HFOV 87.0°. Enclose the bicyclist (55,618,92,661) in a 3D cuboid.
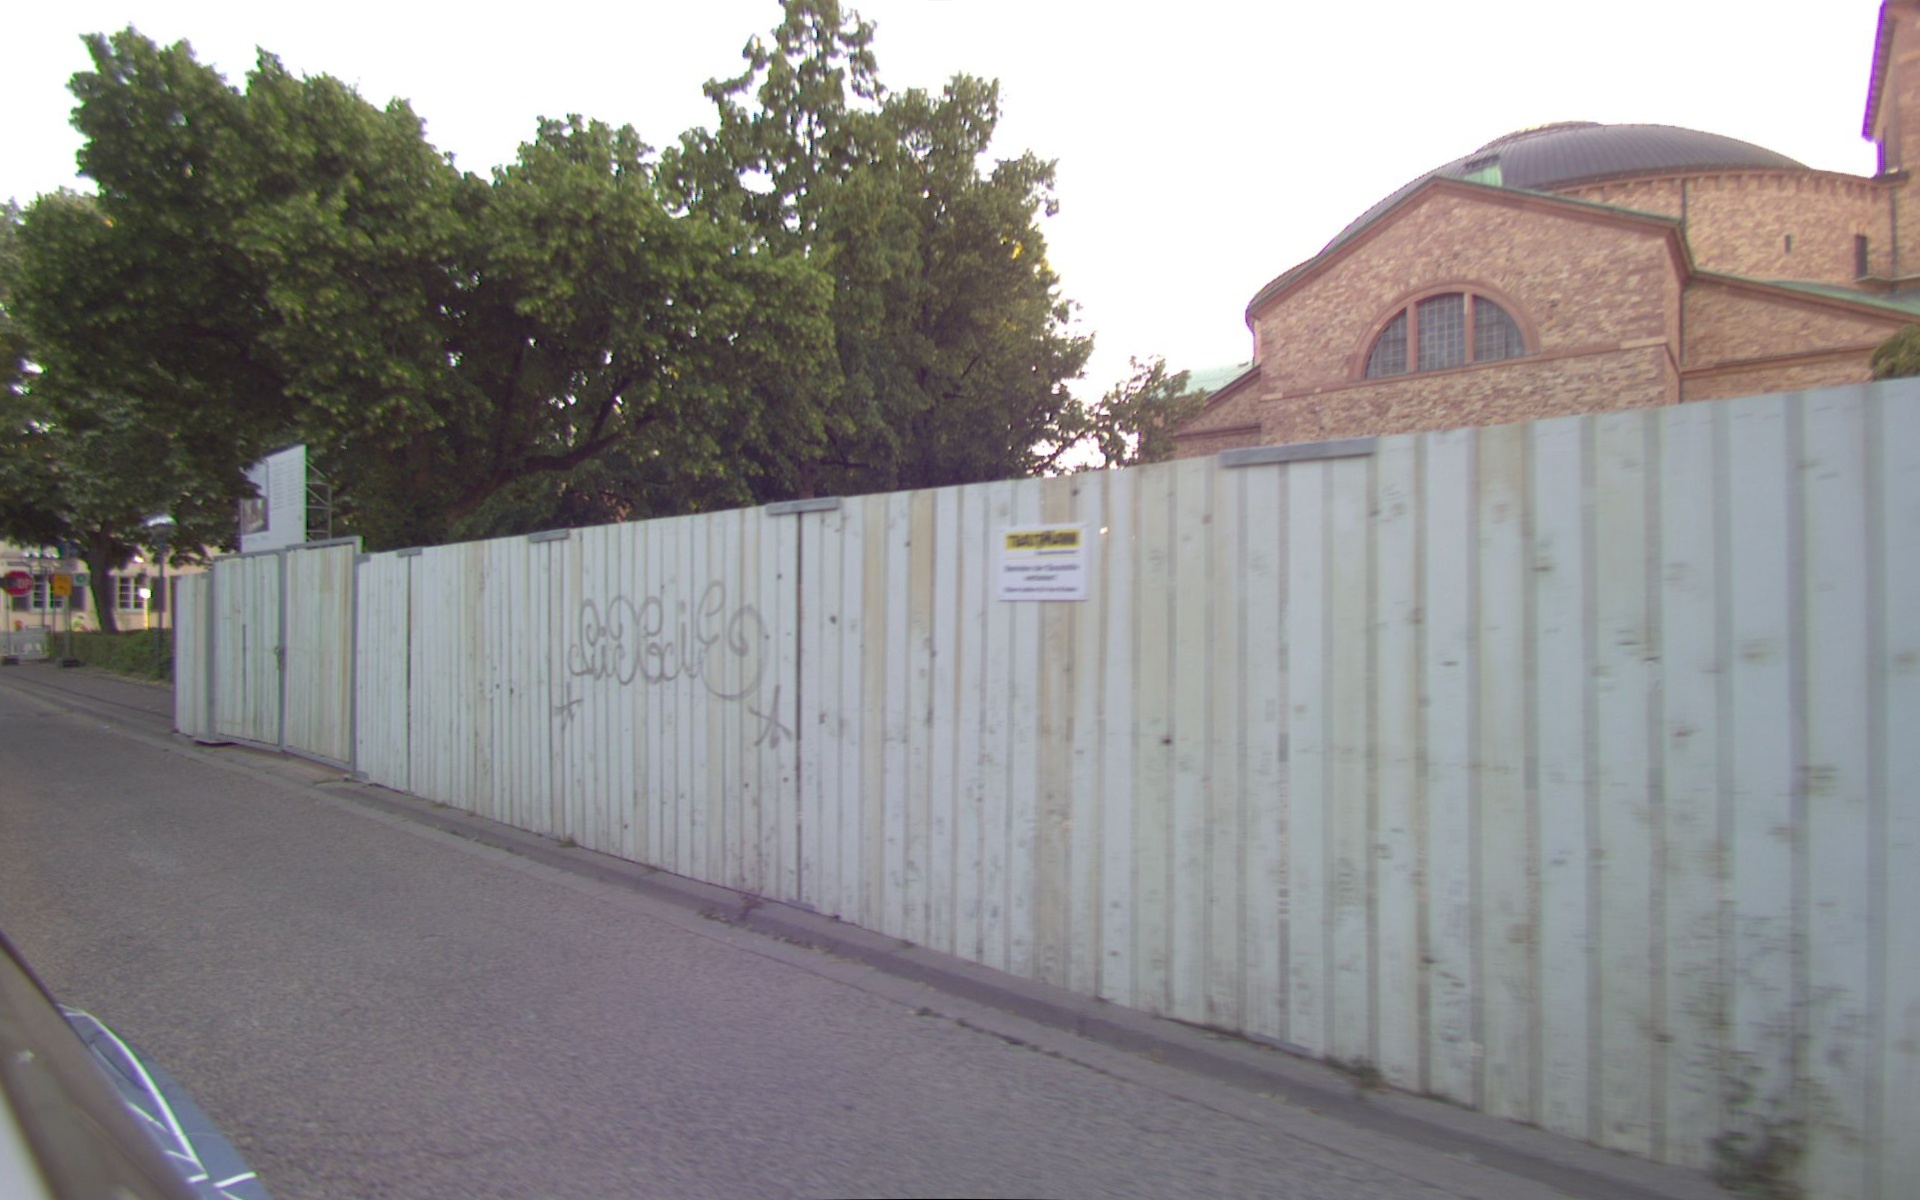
[{"bbox_3d":[-34.545,1.524,39.448,0.593,1.632,0.956,-1,-2,38],"label":"bicyclist"}]
